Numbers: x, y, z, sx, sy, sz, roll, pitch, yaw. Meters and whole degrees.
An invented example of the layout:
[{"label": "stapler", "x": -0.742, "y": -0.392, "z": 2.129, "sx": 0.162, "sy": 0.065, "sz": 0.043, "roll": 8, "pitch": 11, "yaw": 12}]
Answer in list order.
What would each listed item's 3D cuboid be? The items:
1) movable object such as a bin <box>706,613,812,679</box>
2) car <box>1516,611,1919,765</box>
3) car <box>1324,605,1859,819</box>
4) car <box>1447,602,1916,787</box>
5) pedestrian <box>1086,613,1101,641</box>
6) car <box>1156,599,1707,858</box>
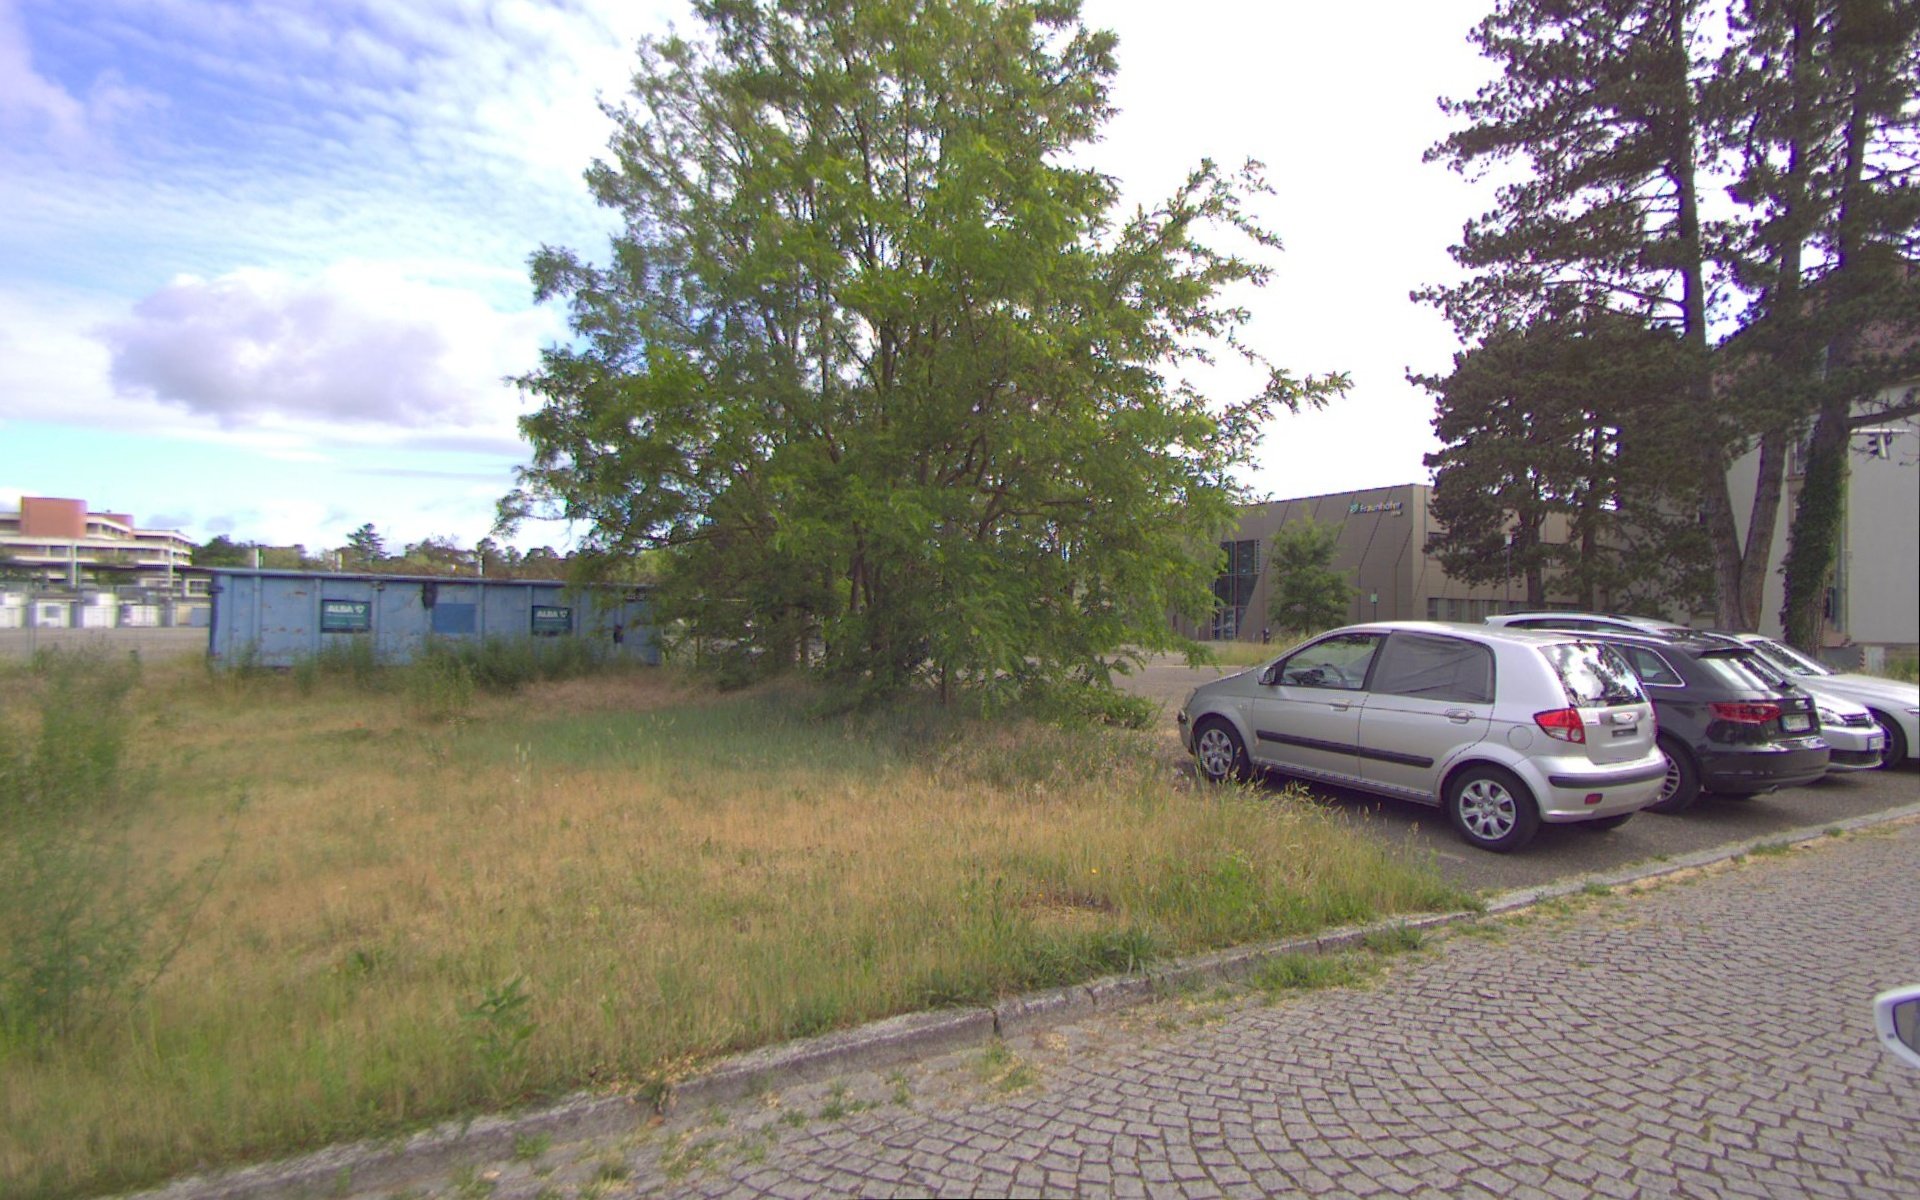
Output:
[{"label": "movable object such as a bin", "x": -3.871, "y": 0.838, "z": 19.126, "sx": 1.480, "sy": 1.176, "sz": 2.385, "roll": 1, "pitch": -1, "yaw": -25}, {"label": "car", "x": 9.917, "y": 0.983, "z": 12.829, "sx": 1.783, "sy": 1.463, "sz": 4.619, "roll": 1, "pitch": 1, "yaw": -33}, {"label": "car", "x": 5.713, "y": 0.860, "z": 9.623, "sx": 1.731, "sy": 1.447, "sz": 3.966, "roll": 1, "pitch": 1, "yaw": -31}, {"label": "car", "x": 7.930, "y": 0.897, "z": 11.419, "sx": 1.707, "sy": 1.568, "sz": 3.961, "roll": 1, "pitch": 1, "yaw": -34}, {"label": "pedestrian", "x": 10.001, "y": 2.000, "z": 75.061, "sx": 0.885, "sy": 2.040, "sz": 0.920, "roll": 1, "pitch": -1, "yaw": -9}, {"label": "car", "x": 3.570, "y": 0.804, "z": 8.204, "sx": 1.790, "sy": 1.472, "sz": 3.654, "roll": 1, "pitch": 1, "yaw": -34}]
